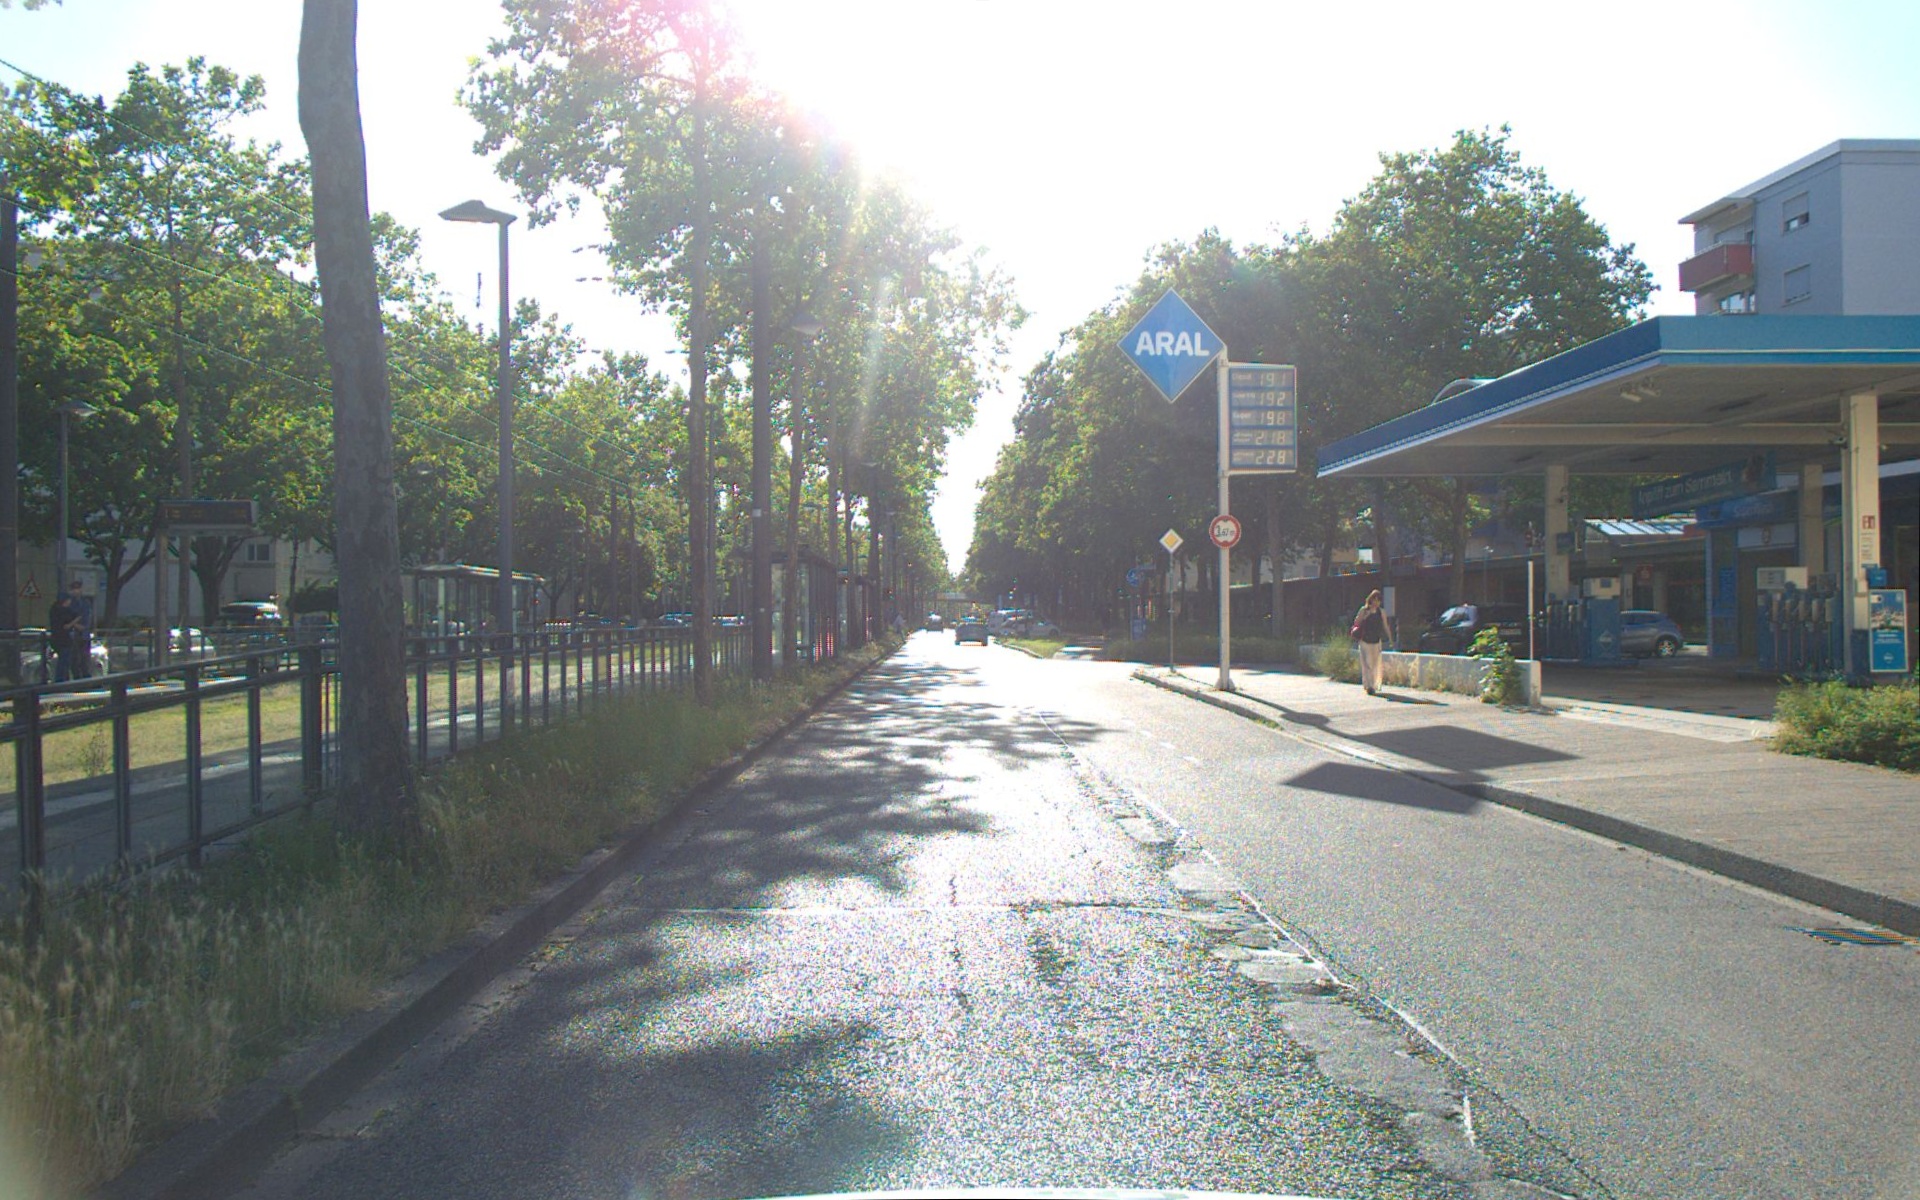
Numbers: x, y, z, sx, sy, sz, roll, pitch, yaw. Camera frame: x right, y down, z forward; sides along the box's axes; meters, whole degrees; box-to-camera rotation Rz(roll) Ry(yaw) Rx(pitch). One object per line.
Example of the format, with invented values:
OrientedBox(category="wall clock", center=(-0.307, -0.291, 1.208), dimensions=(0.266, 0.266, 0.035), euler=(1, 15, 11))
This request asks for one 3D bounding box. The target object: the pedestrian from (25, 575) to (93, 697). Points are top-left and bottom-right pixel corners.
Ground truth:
OrientedBox(category="pedestrian", center=(-14.258, 0.569, 26.190), dimensions=(0.705, 1.900, 0.636), euler=(0, -1, 0))

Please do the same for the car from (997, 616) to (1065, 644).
OrientedBox(category="car", center=(4.489, 1.876, 103.832), dimensions=(3.948, 1.495, 1.741), euler=(-3, 0, -33))

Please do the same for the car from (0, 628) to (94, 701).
OrientedBox(category="car", center=(-23.217, 1.564, 40.904), dimensions=(1.561, 1.665, 3.929), euler=(-1, -1, -1))

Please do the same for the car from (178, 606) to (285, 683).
OrientedBox(category="car", center=(-22.942, 1.365, 52.233), dimensions=(1.679, 2.302, 3.932), euler=(-1, -1, -1))

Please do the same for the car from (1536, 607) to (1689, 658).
OrientedBox(category="car", center=(20.776, 1.029, 52.770), dimensions=(4.106, 1.558, 1.982), euler=(0, -1, -3))

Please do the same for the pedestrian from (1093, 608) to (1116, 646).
OrientedBox(category="pedestrian", center=(7.313, 1.363, 83.667), dimensions=(0.910, 1.918, 0.797), euler=(0, -1, -15))

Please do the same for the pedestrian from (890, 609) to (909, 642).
OrientedBox(category="pedestrian", center=(-3.275, 1.364, 89.778), dimensions=(0.824, 1.752, 0.830), euler=(-1, -1, 14))

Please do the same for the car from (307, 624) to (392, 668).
OrientedBox(category="car", center=(-23.373, 1.755, 63.492), dimensions=(1.678, 1.573, 3.934), euler=(-1, 0, 2))

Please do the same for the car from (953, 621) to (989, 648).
OrientedBox(category="car", center=(0.574, 1.872, 91.685), dimensions=(1.883, 1.436, 3.999), euler=(0, -1, -1))

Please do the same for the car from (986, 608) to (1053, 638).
OrientedBox(category="car", center=(4.100, 1.568, 114.149), dimensions=(4.629, 1.885, 1.803), euler=(-1, -1, -41))

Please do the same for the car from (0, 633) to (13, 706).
OrientedBox(category="car", center=(-22.755, 1.582, 36.415), dimensions=(1.561, 1.661, 3.930), euler=(-1, -1, 0))

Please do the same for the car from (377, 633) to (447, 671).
OrientedBox(category="car", center=(-24.210, 2.285, 73.178), dimensions=(1.678, 1.573, 4.200), euler=(-1, 0, 0))

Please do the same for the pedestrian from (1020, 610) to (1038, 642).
OrientedBox(category="pedestrian", center=(3.841, 1.442, 92.207), dimensions=(0.704, 1.736, 0.646), euler=(-1, -1, -35))

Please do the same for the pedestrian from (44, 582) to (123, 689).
OrientedBox(category="pedestrian", center=(-14.283, 0.579, 26.962), dimensions=(0.865, 1.719, 0.754), euler=(0, -1, 0))

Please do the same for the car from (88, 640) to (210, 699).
OrientedBox(category="car", center=(-23.081, 1.937, 47.208), dimensions=(1.561, 1.514, 4.018), euler=(-1, 0, -2))

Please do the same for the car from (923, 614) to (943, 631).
OrientedBox(category="car", center=(-2.456, 2.076, 152.153), dimensions=(1.811, 1.562, 3.865), euler=(-1, -1, 0))

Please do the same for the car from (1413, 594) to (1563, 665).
OrientedBox(category="car", center=(11.762, 0.647, 37.098), dimensions=(1.687, 1.489, 3.999), euler=(0, -1, -7))

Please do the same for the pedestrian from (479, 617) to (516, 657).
OrientedBox(category="pedestrian", center=(-14.988, 1.207, 53.576), dimensions=(0.821, 1.283, 0.798), euler=(0, -1, 28))

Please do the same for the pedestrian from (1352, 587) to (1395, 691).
OrientedBox(category="pedestrian", center=(6.968, 0.653, 27.856), dimensions=(0.591, 1.731, 0.552), euler=(0, -1, 3))
